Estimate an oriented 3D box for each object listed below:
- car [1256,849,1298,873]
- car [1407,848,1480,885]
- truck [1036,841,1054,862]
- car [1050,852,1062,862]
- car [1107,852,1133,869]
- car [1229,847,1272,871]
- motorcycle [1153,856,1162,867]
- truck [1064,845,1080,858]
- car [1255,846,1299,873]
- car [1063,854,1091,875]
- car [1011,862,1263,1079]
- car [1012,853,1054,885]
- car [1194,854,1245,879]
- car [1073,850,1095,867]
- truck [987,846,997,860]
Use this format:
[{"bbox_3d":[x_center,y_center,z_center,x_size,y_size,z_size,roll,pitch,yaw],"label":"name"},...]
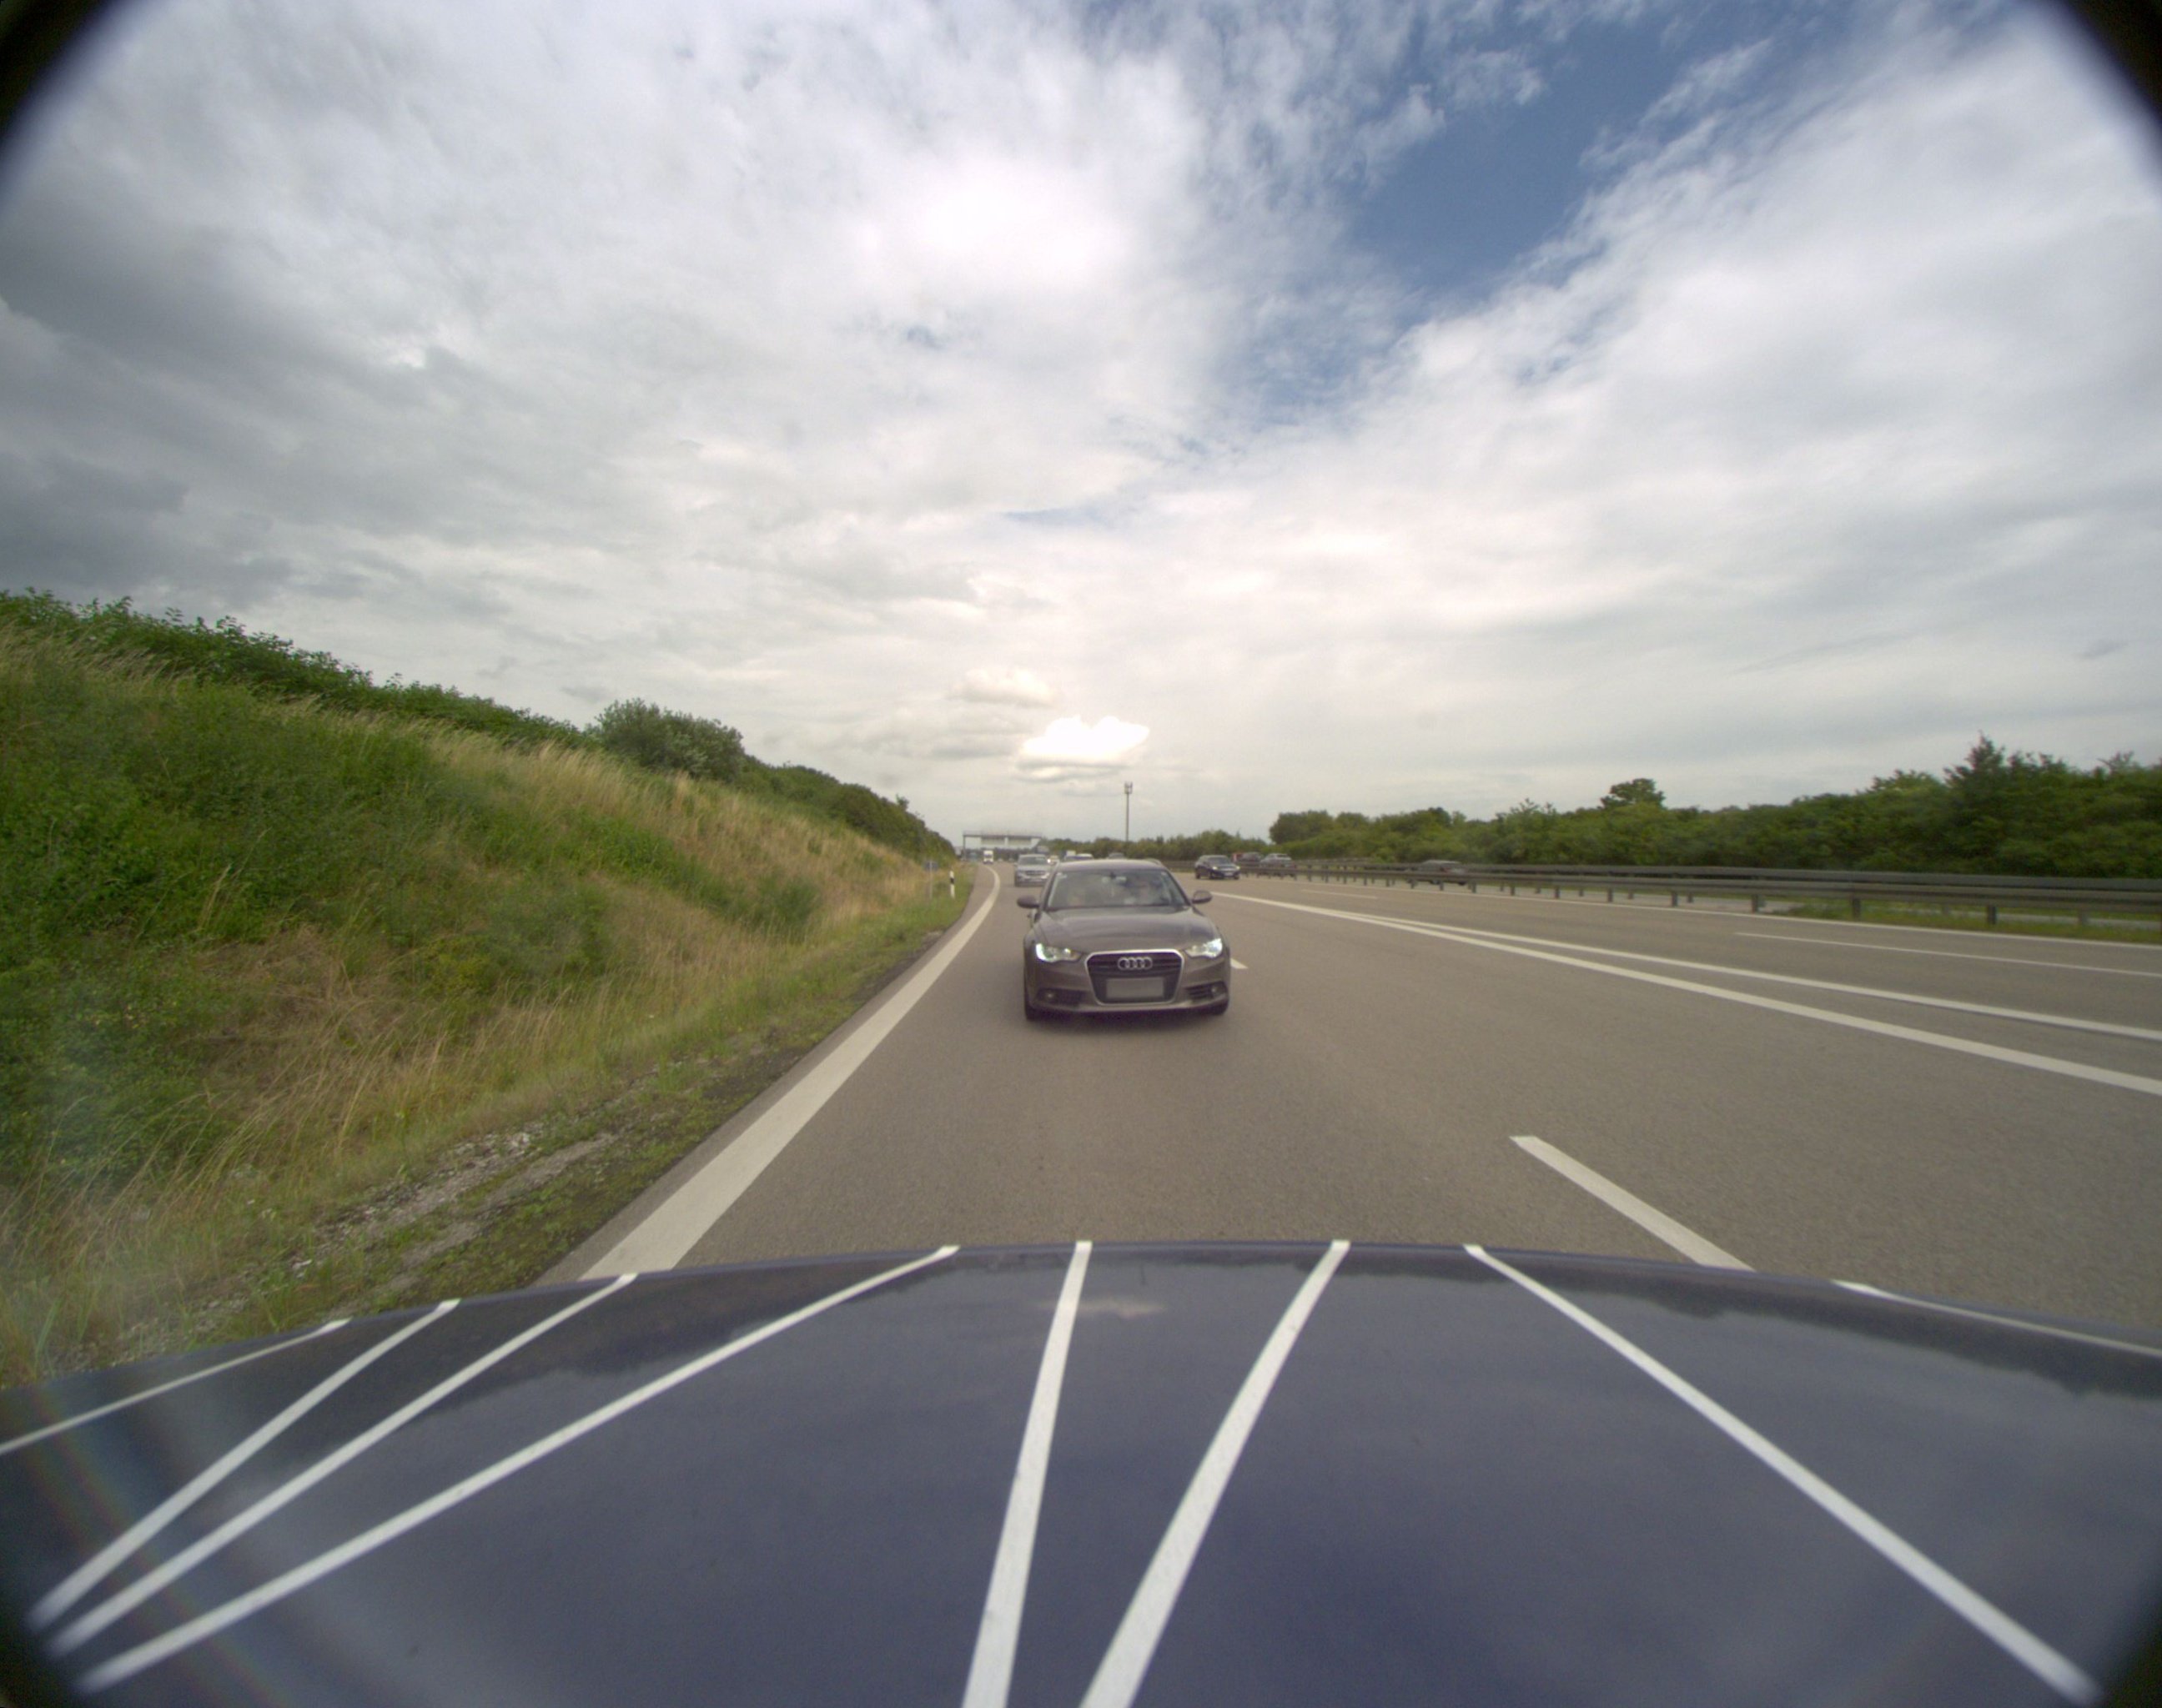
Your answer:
[{"bbox_3d":[18.493,0.628,72.044,2.169,2.120,4.871,-1,0,-7],"label":"car"},{"bbox_3d":[21.702,0.704,45.650,2.000,2.002,3.996,-2,1,-8],"label":"car"},{"bbox_3d":[-6.218,-0.418,130.326,2.475,3.350,7.921,-1,-1,-6],"label":"truck"},{"bbox_3d":[-4.766,0.535,144.748,2.000,1.799,3.998,0,0,-6],"label":"car"},{"bbox_3d":[4.205,0.719,83.471,2.000,1.775,5.409,-1,0,-6],"label":"car"},{"bbox_3d":[17.483,0.510,78.634,2.169,2.317,6.672,-1,0,-7],"label":"car"},{"bbox_3d":[10.062,0.945,99.770,0.659,1.436,2.393,-2,1,-6],"label":"motorcycle"},{"bbox_3d":[-2.673,-0.756,219.149,3.168,3.508,9.970,-2,1,-9],"label":"truck"},{"bbox_3d":[15.421,0.426,60.061,2.000,2.002,3.997,-1,0,-8],"label":"car"},{"bbox_3d":[-0.324,0.764,57.915,1.839,1.557,4.496,-1,0,-4],"label":"car"},{"bbox_3d":[0.281,0.879,7.638,1.849,1.489,4.027,-2,0,-4],"label":"car"},{"bbox_3d":[-2.506,0.726,39.059,2.000,1.567,3.998,-1,0,-6],"label":"car"},{"bbox_3d":[8.370,0.739,46.286,1.727,1.415,4.794,0,0,-6],"label":"car"},{"bbox_3d":[0.258,0.483,80.551,1.882,1.741,4.484,-1,0,-6],"label":"car"},{"bbox_3d":[-20.775,-0.145,177.246,2.450,3.216,7.186,-1,0,-7],"label":"truck"}]
